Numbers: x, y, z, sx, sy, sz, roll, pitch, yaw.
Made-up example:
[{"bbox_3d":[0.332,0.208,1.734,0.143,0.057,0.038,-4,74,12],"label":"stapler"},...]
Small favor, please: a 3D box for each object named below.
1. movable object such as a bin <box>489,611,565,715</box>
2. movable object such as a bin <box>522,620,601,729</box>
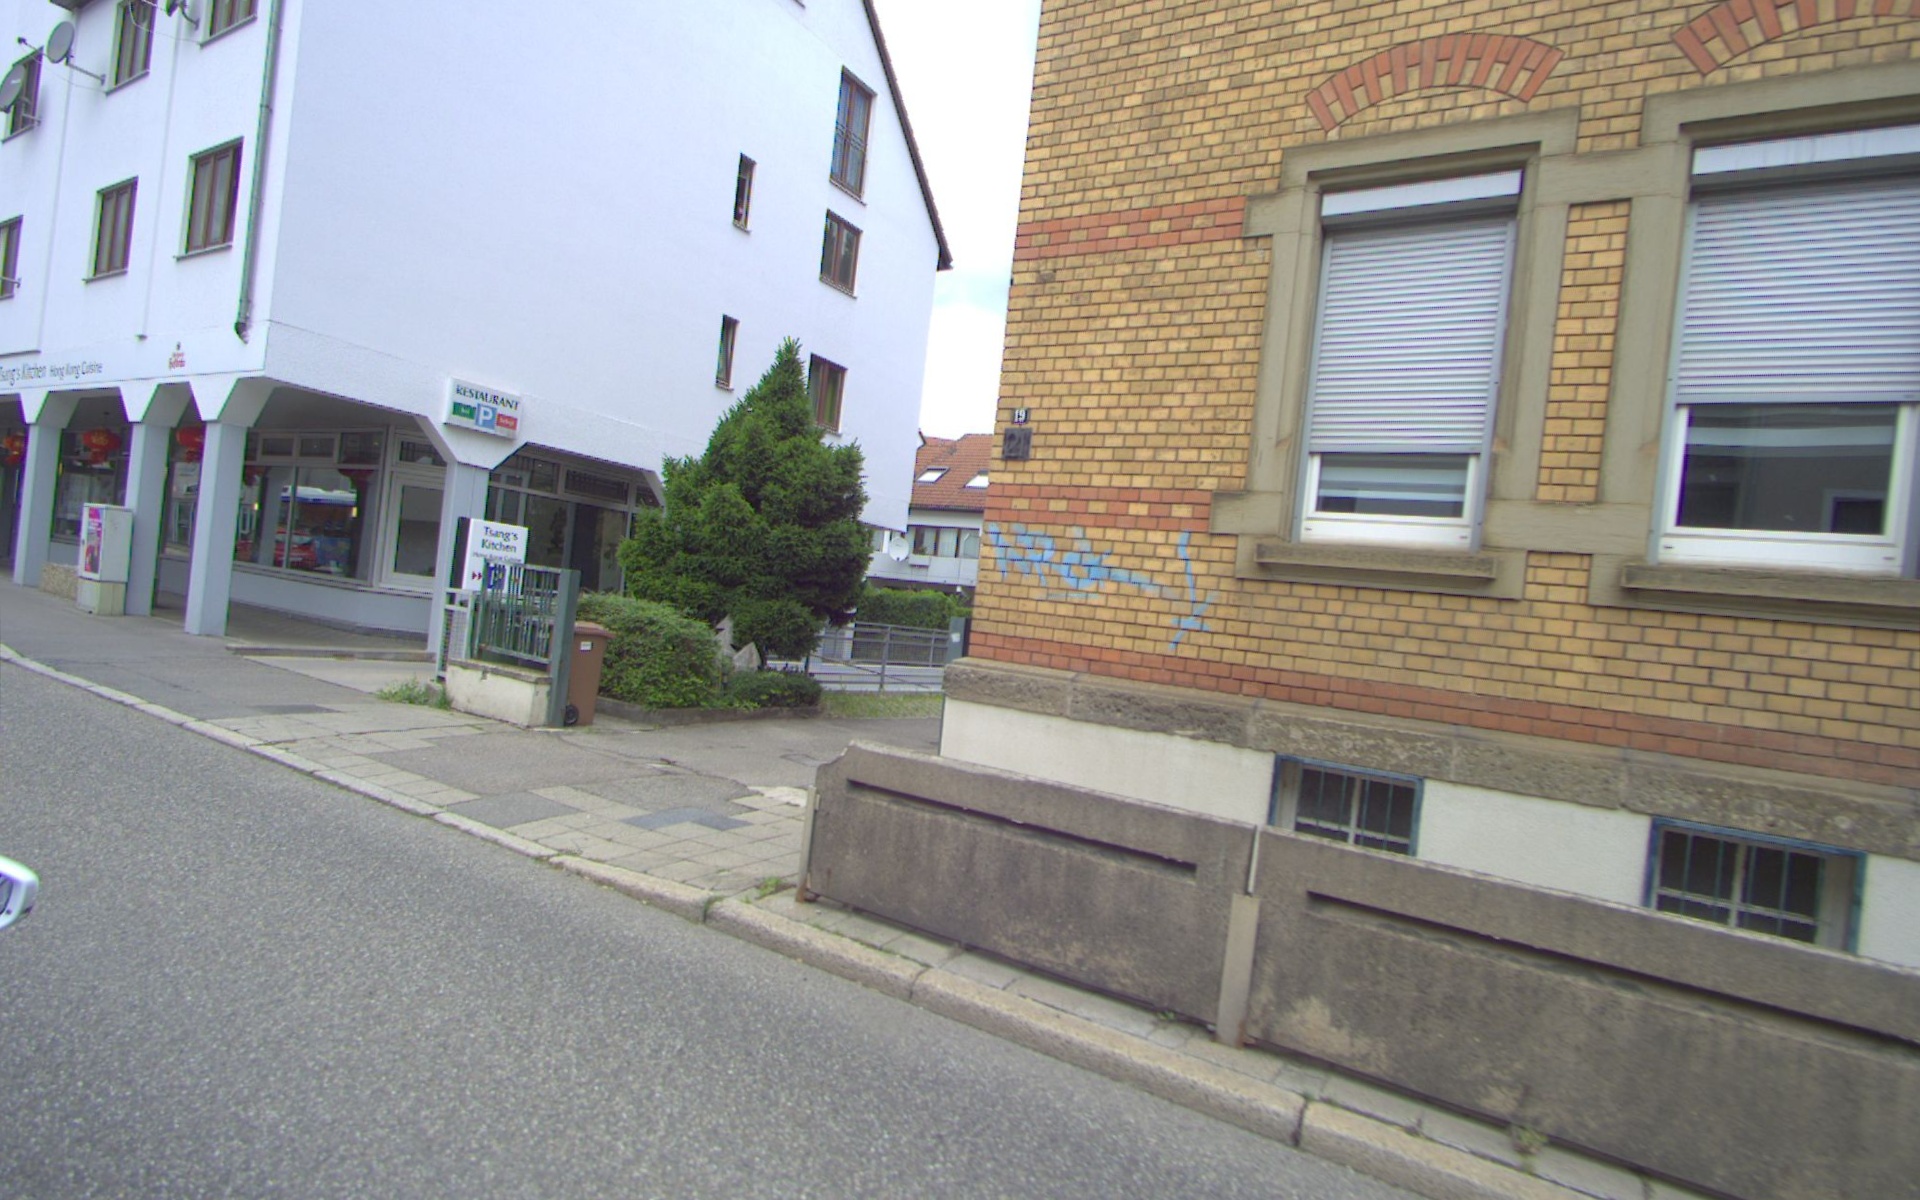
[{"bbox_3d":[-4.107,0.595,9.545,0.449,0.915,0.398,7,1,32],"label":"movable object such as a bin"},{"bbox_3d":[-3.634,0.677,9.183,0.449,0.915,0.398,7,1,32],"label":"movable object such as a bin"}]
